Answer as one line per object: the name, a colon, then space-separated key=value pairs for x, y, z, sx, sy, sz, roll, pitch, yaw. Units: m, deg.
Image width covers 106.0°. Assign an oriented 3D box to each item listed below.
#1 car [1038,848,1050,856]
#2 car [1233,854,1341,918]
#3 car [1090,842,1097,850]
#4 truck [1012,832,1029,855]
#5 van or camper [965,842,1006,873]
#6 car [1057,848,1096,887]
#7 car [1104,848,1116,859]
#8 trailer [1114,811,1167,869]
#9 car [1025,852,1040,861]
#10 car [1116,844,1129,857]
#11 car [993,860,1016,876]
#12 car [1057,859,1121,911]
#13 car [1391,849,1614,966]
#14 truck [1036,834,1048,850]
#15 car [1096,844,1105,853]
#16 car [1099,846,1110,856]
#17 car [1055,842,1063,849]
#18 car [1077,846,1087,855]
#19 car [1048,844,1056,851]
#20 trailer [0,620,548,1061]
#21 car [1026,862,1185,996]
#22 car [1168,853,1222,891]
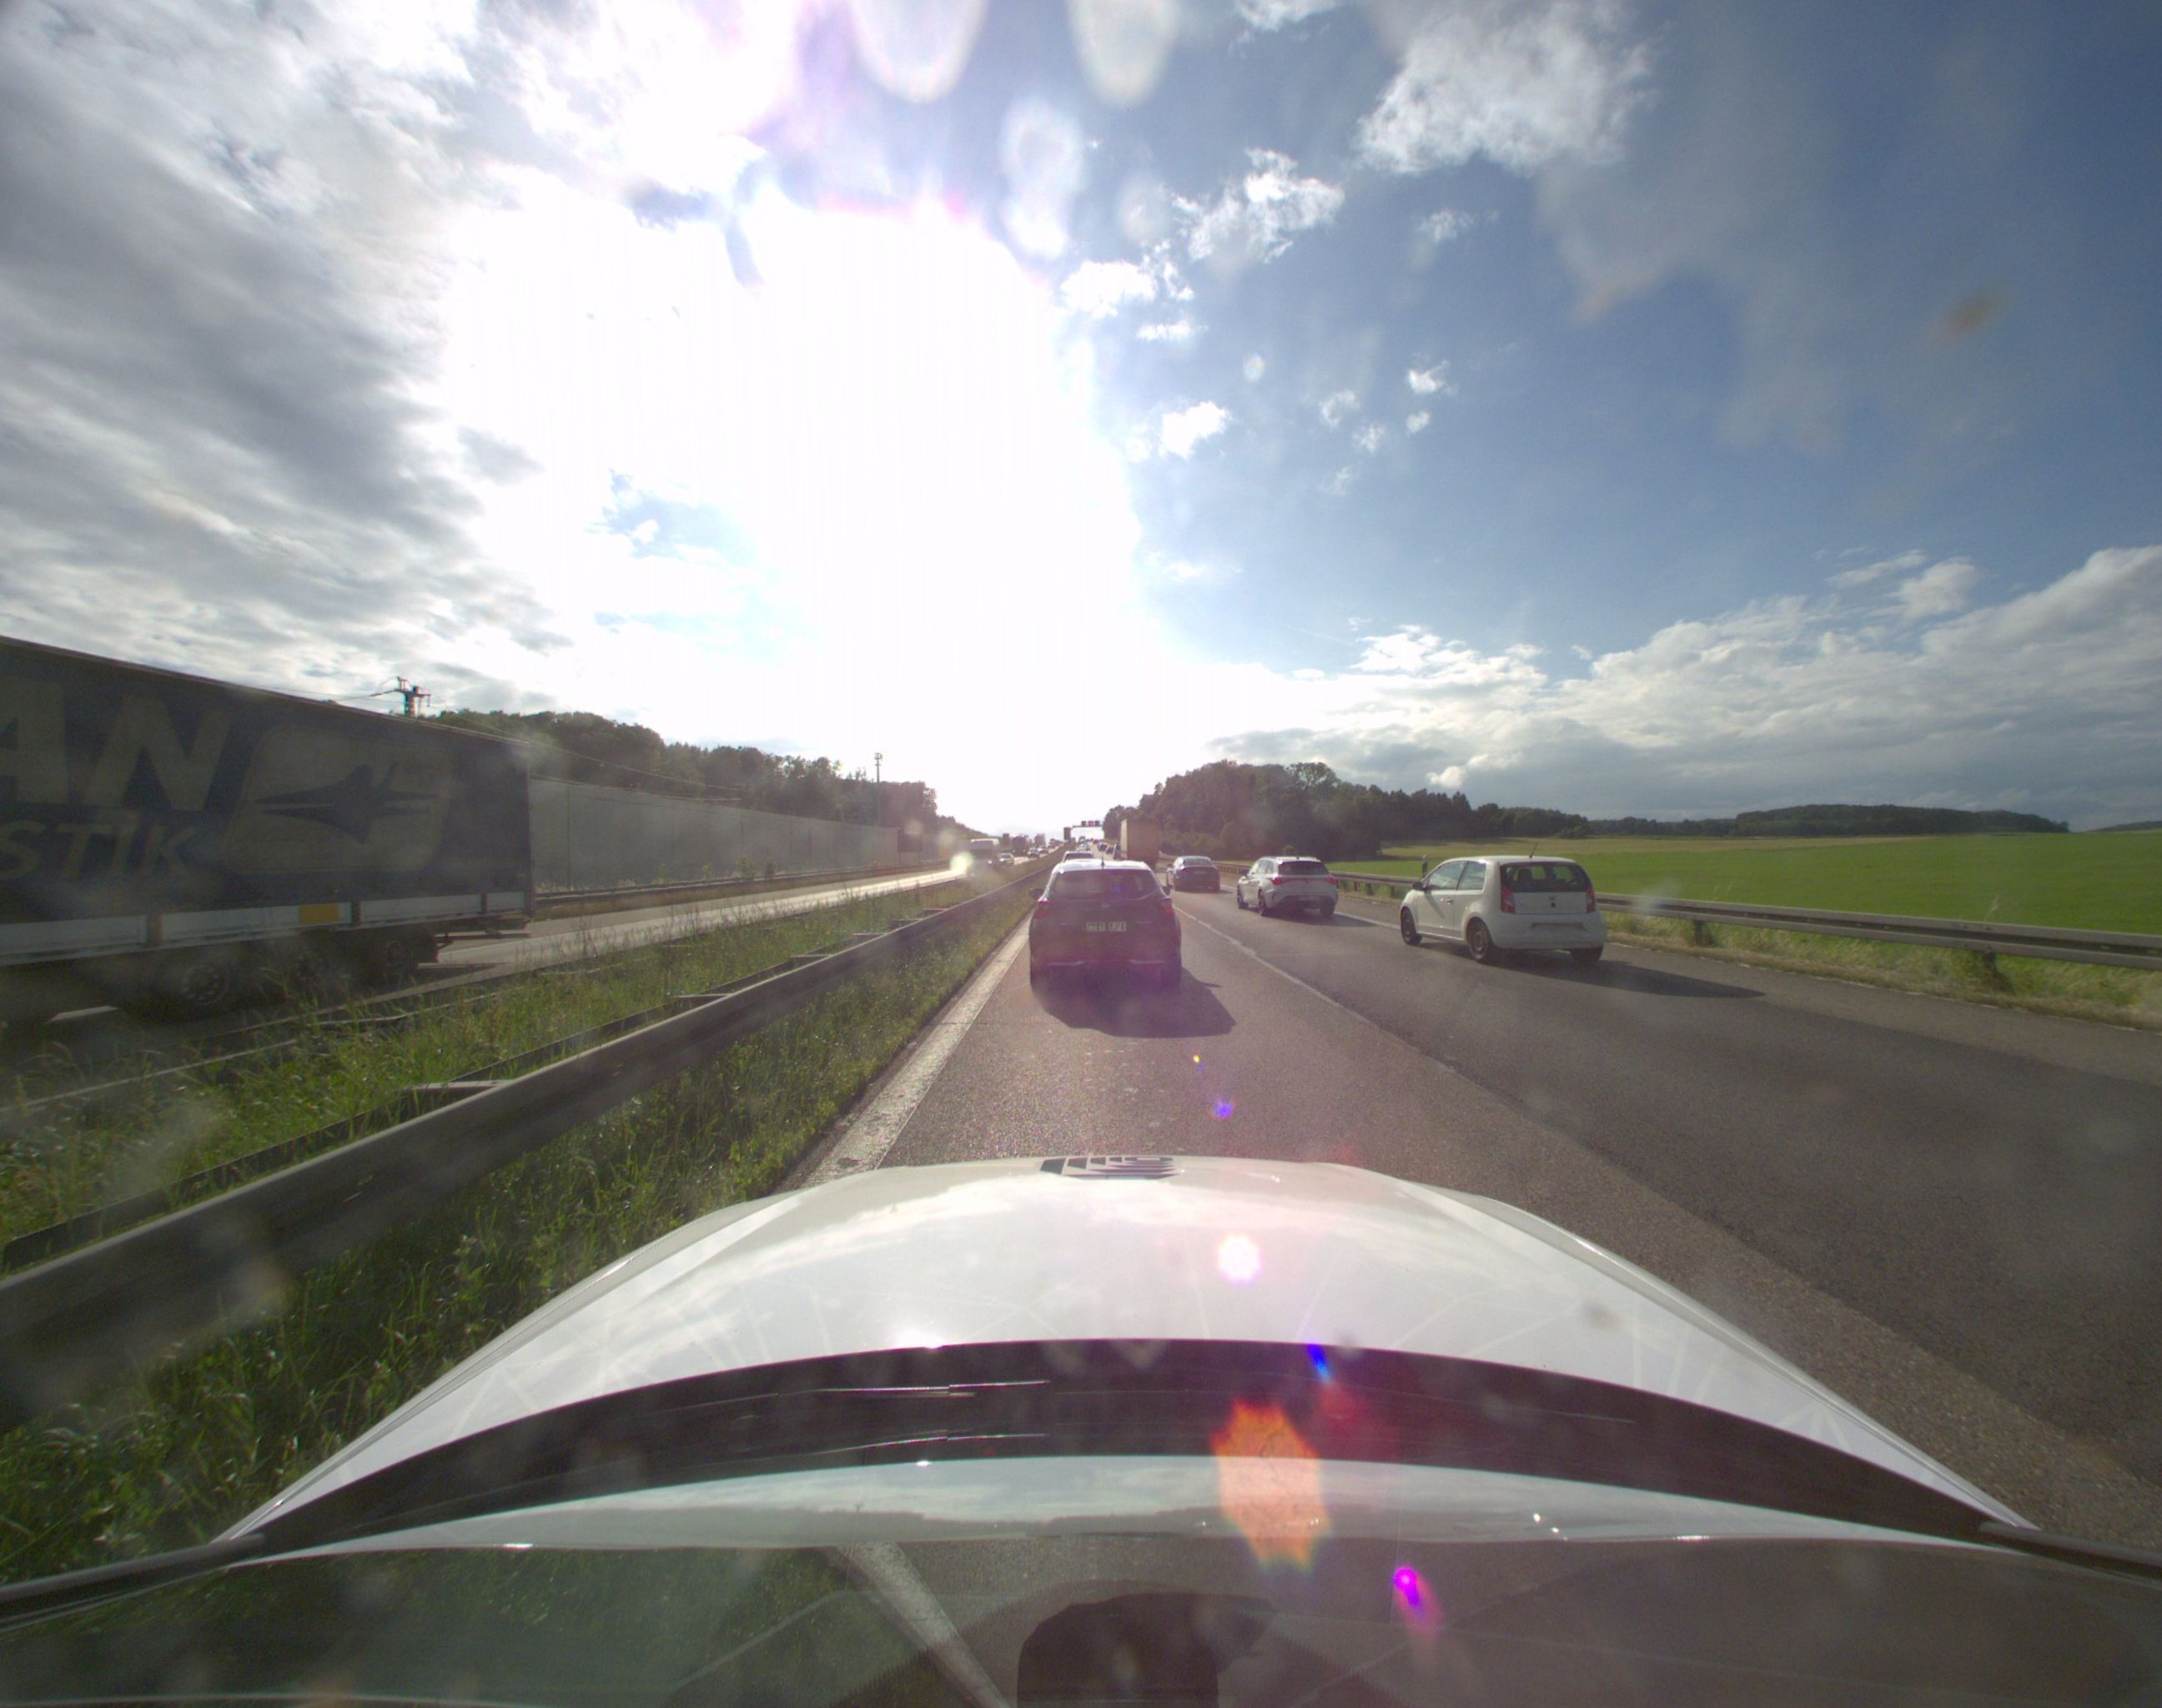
car: x=-7.098 y=-0.394 z=156.510 sx=1.797 sy=1.516 sz=4.691 roll=0 pitch=-1 yaw=1
car: x=5.110 y=0.751 z=20.703 sx=1.616 sy=1.445 sz=4.144 roll=0 pitch=-1 yaw=-1
car: x=3.740 y=-2.357 z=238.240 sx=1.987 sy=2.014 sz=3.998 roll=0 pitch=-1 yaw=-1
truck: x=-10.939 y=-1.867 z=147.811 sx=2.544 sy=3.798 sz=5.417 roll=-3 pitch=-1 yaw=1
van or camper: x=-7.148 y=0.296 z=61.621 sx=2.158 sy=2.205 sz=6.260 roll=0 pitch=-1 yaw=2
car: x=-0.168 y=0.623 z=37.695 sx=1.668 sy=1.726 sz=3.597 roll=-1 pitch=-1 yaw=1
car: x=5.259 y=-0.103 z=146.240 sx=1.987 sy=2.014 sz=3.998 roll=0 pitch=-1 yaw=-1
trailer: x=4.856 y=-1.058 z=69.568 sx=3.538 sy=4.457 sz=12.718 roll=0 pitch=-1 yaw=0
car: x=-7.719 y=0.377 z=130.216 sx=1.986 sy=1.486 sz=4.399 roll=0 pitch=-1 yaw=1
car: x=5.493 y=-0.429 z=108.018 sx=1.661 sy=1.755 sz=3.328 roll=0 pitch=-1 yaw=2
car: x=-7.827 y=1.406 z=83.478 sx=1.836 sy=1.508 sz=4.552 roll=0 pitch=-1 yaw=2
car: x=0.246 y=0.828 z=23.193 sx=1.668 sy=1.367 sz=3.597 roll=-1 pitch=-1 yaw=1
car: x=6.101 y=0.684 z=12.220 sx=1.544 sy=1.495 sz=3.376 roll=0 pitch=0 yaw=-1
truck: x=-10.756 y=-3.253 z=225.135 sx=2.745 sy=4.090 sz=6.952 roll=-1 pitch=-1 yaw=0
car: x=4.600 y=-1.345 z=191.073 sx=1.987 sy=2.014 sz=3.998 roll=0 pitch=-1 yaw=-1
car: x=4.791 y=-0.595 z=164.478 sx=1.987 sy=2.014 sz=3.998 roll=0 pitch=-1 yaw=-1
car: x=-6.504 y=-2.546 z=239.260 sx=1.987 sy=1.883 sz=4.787 roll=-3 pitch=-1 yaw=0
car: x=0.219 y=-0.742 z=177.904 sx=1.987 sy=2.014 sz=3.998 roll=0 pitch=-1 yaw=-1
car: x=-7.394 y=-1.675 z=207.746 sx=1.853 sy=1.834 sz=4.281 roll=0 pitch=-1 yaw=1
trailer: x=-11.331 y=-0.106 z=9.143 sx=2.646 sy=4.081 sz=12.392 roll=0 pitch=-1 yaw=-1
car: x=0.315 y=0.825 z=10.484 sx=1.703 sy=1.426 sz=3.379 roll=-1 pitch=-1 yaw=2
car: x=4.644 y=0.709 z=33.799 sx=1.741 sy=1.475 sz=4.147 roll=-1 pitch=-1 yaw=1
